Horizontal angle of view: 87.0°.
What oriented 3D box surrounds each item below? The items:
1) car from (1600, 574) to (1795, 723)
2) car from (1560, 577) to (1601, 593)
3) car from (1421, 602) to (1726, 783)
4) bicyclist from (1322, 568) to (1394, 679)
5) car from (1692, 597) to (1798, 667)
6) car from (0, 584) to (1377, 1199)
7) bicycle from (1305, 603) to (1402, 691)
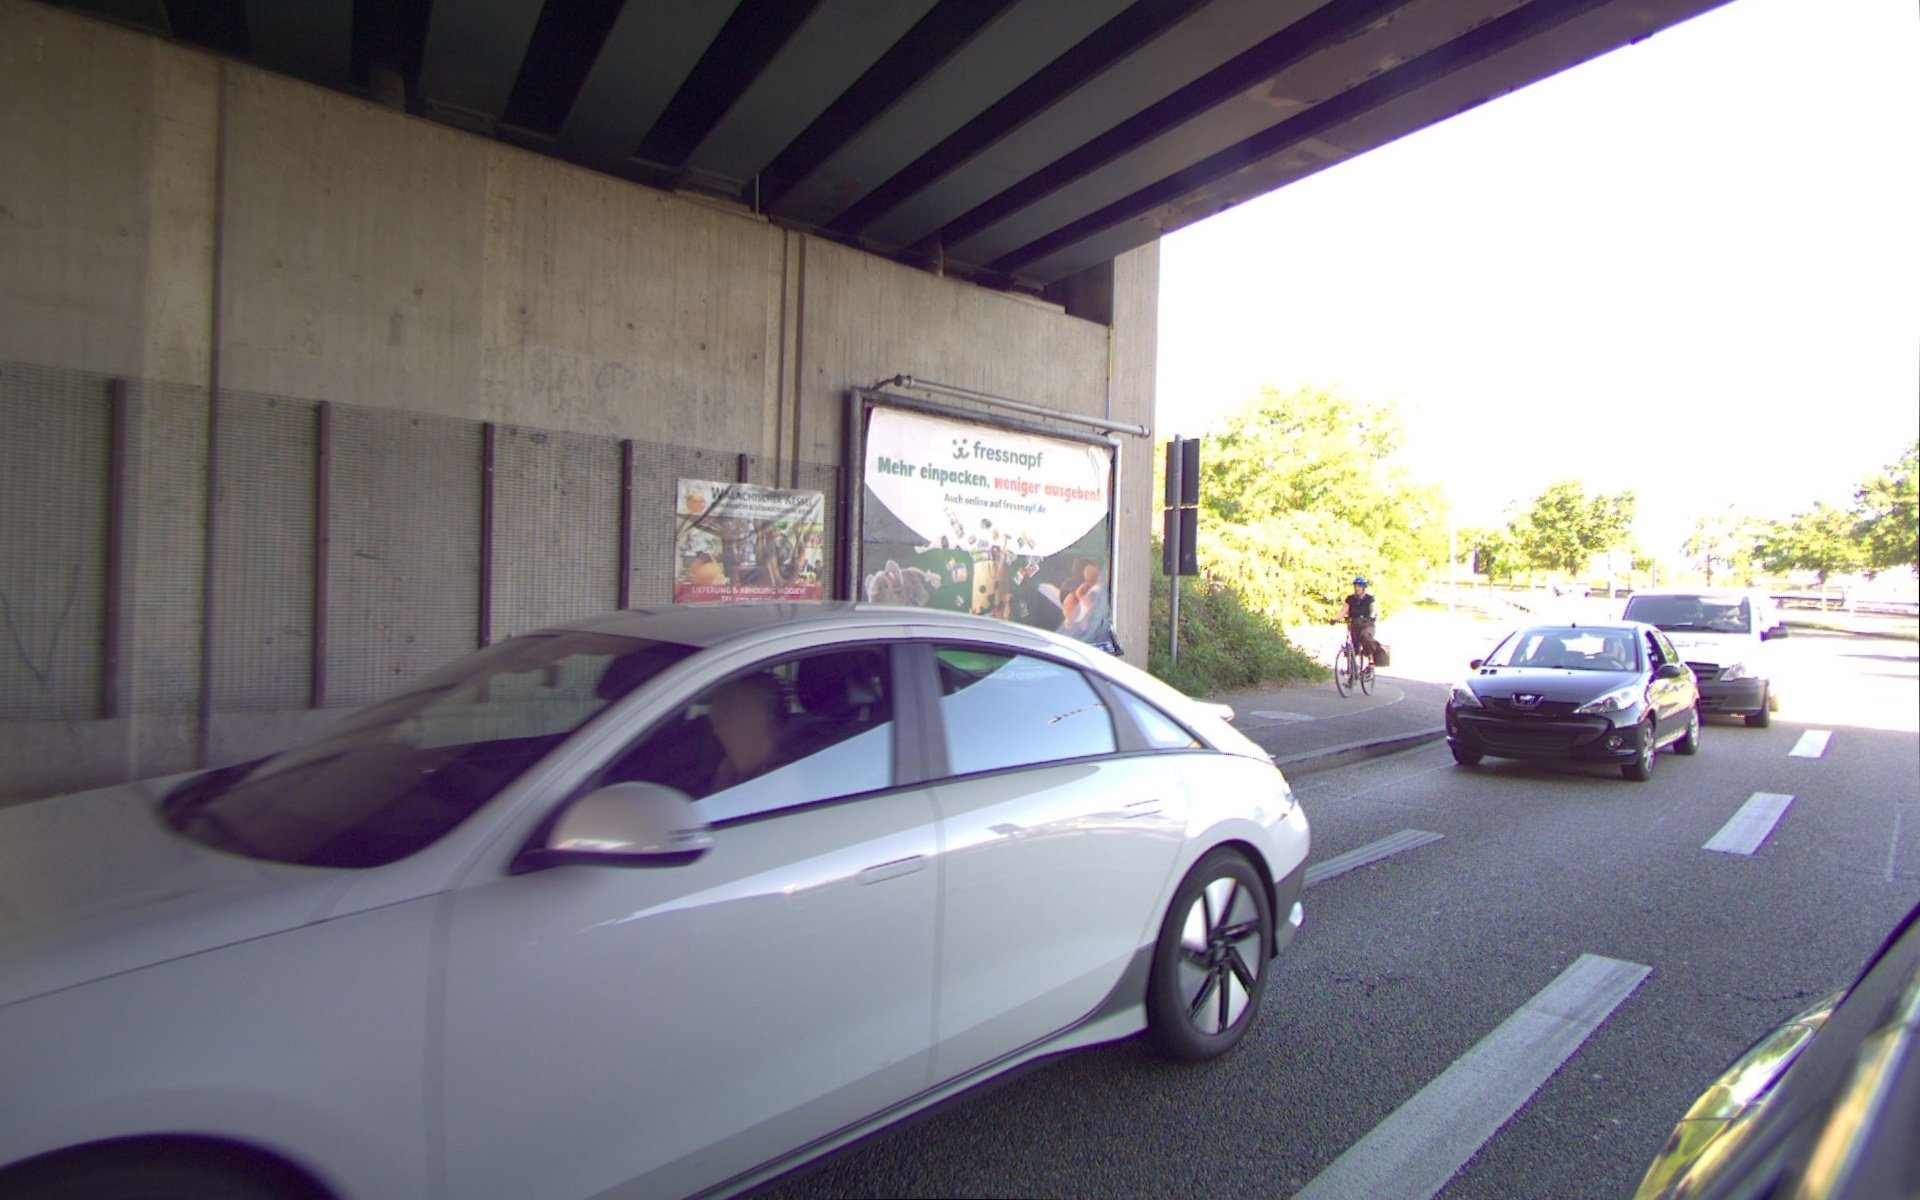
[{"bbox_3d":[11.039,0.598,14.998,1.896,1.859,4.762,0,0,42],"label":"car"},{"bbox_3d":[64.414,-1.529,105.099,1.773,1.626,4.293,0,1,2],"label":"car"},{"bbox_3d":[6.297,0.767,10.231,3.654,1.474,1.747,0,0,-43],"label":"car"},{"bbox_3d":[5.861,0.328,14.888,0.653,1.552,0.833,4,2,43],"label":"bicyclist"},{"bbox_3d":[19.901,0.730,25.642,1.990,1.570,4.359,0,1,39],"label":"car"},{"bbox_3d":[-0.628,0.713,3.074,4.585,1.474,1.748,0,0,-43],"label":"car"},{"bbox_3d":[5.789,0.661,14.843,0.651,1.181,1.750,4,2,43],"label":"bicycle"}]
